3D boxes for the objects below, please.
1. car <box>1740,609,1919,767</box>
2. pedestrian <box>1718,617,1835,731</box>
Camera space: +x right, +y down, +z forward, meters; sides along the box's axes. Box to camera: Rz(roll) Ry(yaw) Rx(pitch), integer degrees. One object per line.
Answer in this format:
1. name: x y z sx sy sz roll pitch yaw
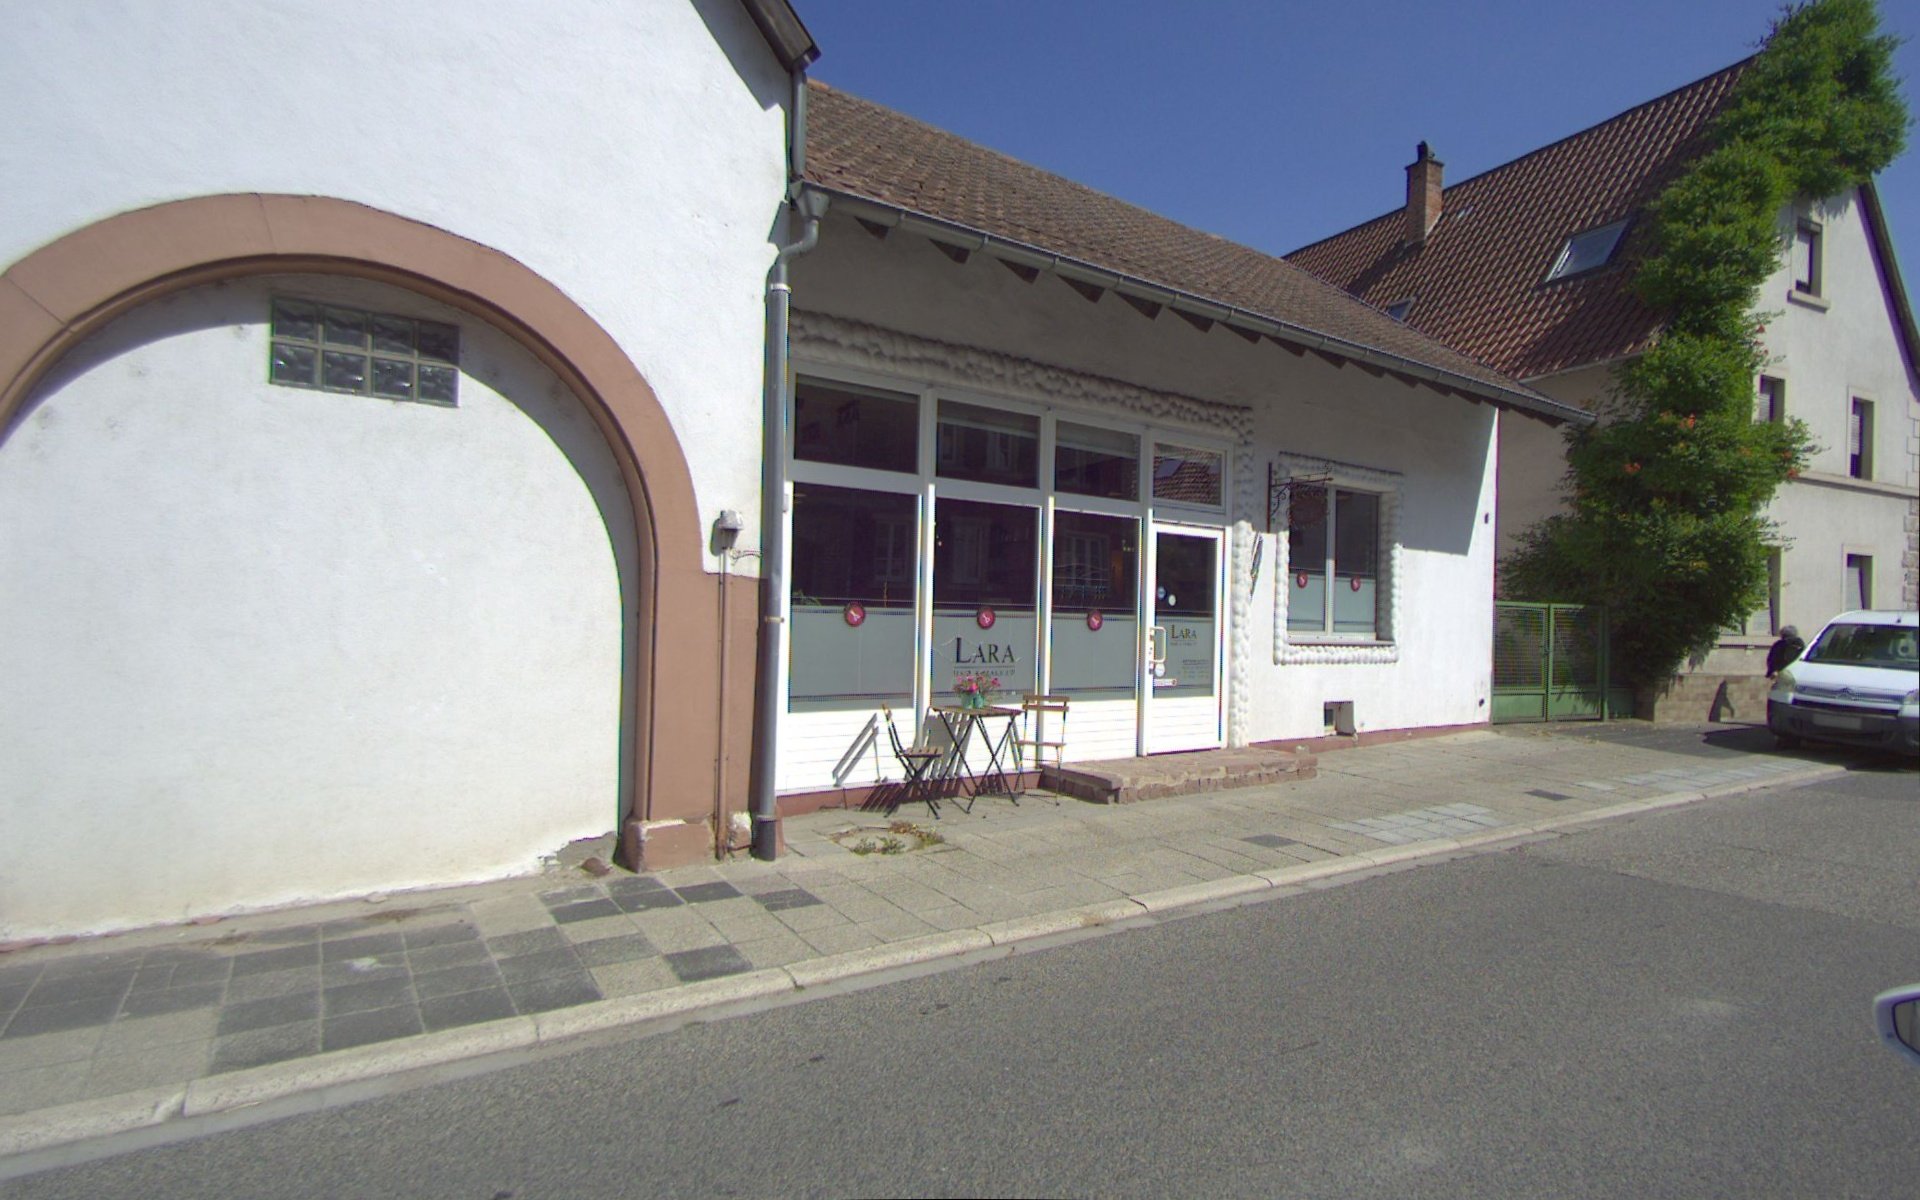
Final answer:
1. car: 11.668 0.997 12.559 4.386 1.669 1.843 2 -1 -35
2. pedestrian: 12.005 1.052 14.782 1.127 1.572 1.008 1 0 -32
